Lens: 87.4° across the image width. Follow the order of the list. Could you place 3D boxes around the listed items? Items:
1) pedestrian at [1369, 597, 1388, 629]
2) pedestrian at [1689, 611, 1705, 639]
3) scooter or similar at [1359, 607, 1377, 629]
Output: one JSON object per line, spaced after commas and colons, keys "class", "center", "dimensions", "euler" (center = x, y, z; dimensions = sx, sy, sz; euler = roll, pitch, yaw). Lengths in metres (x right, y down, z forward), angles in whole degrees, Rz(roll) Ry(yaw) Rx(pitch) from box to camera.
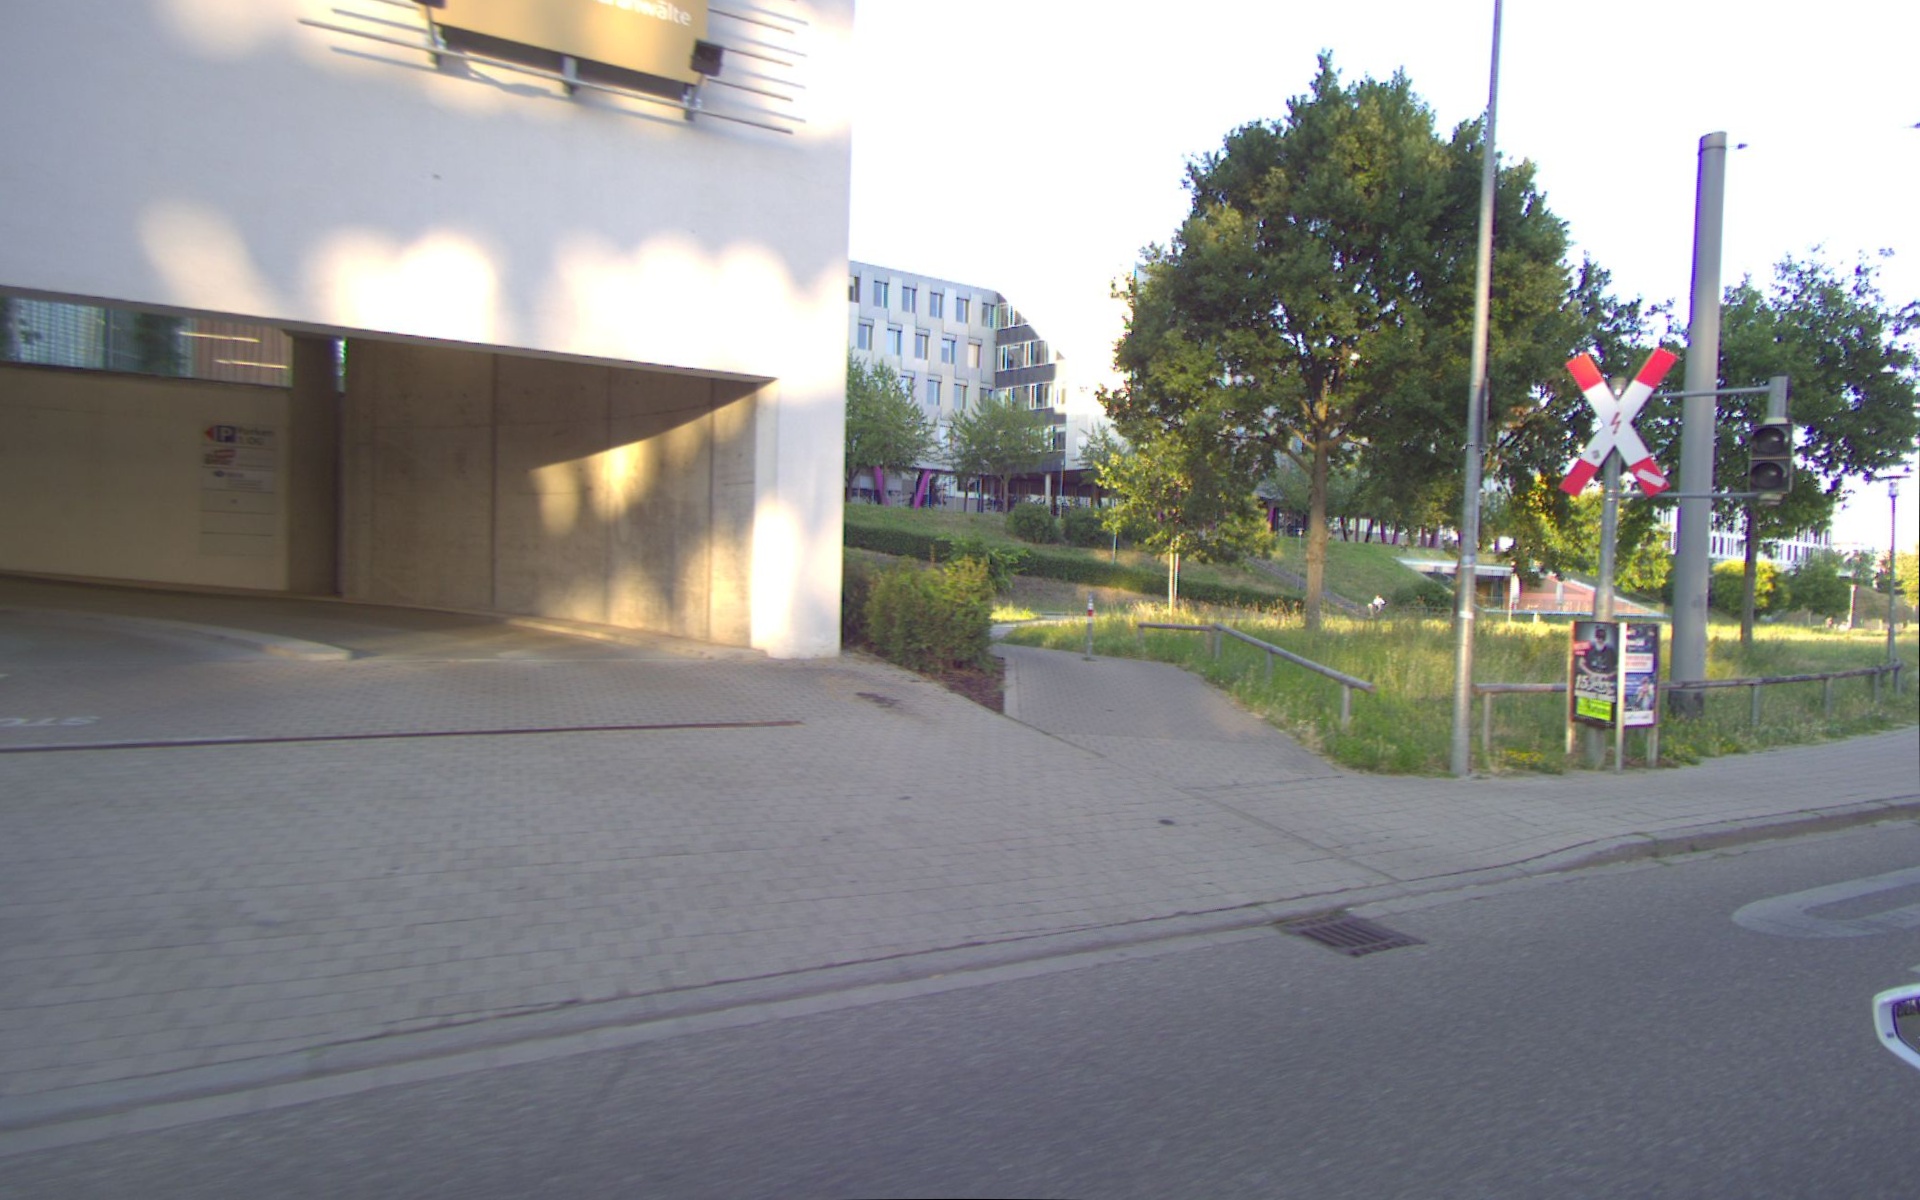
{"class": "pedestrian", "center": [25.427, 0.801, 61.006], "dimensions": [0.780, 1.861, 0.614], "euler": [1, 3, -26]}
{"class": "pedestrian", "center": [56.490, 1.924, 77.013], "dimensions": [0.780, 2.110, 0.614], "euler": [1, 3, -26]}
{"class": "scooter or similar", "center": [24.583, 1.081, 60.528], "dimensions": [0.780, 1.261, 0.614], "euler": [1, 3, -26]}
